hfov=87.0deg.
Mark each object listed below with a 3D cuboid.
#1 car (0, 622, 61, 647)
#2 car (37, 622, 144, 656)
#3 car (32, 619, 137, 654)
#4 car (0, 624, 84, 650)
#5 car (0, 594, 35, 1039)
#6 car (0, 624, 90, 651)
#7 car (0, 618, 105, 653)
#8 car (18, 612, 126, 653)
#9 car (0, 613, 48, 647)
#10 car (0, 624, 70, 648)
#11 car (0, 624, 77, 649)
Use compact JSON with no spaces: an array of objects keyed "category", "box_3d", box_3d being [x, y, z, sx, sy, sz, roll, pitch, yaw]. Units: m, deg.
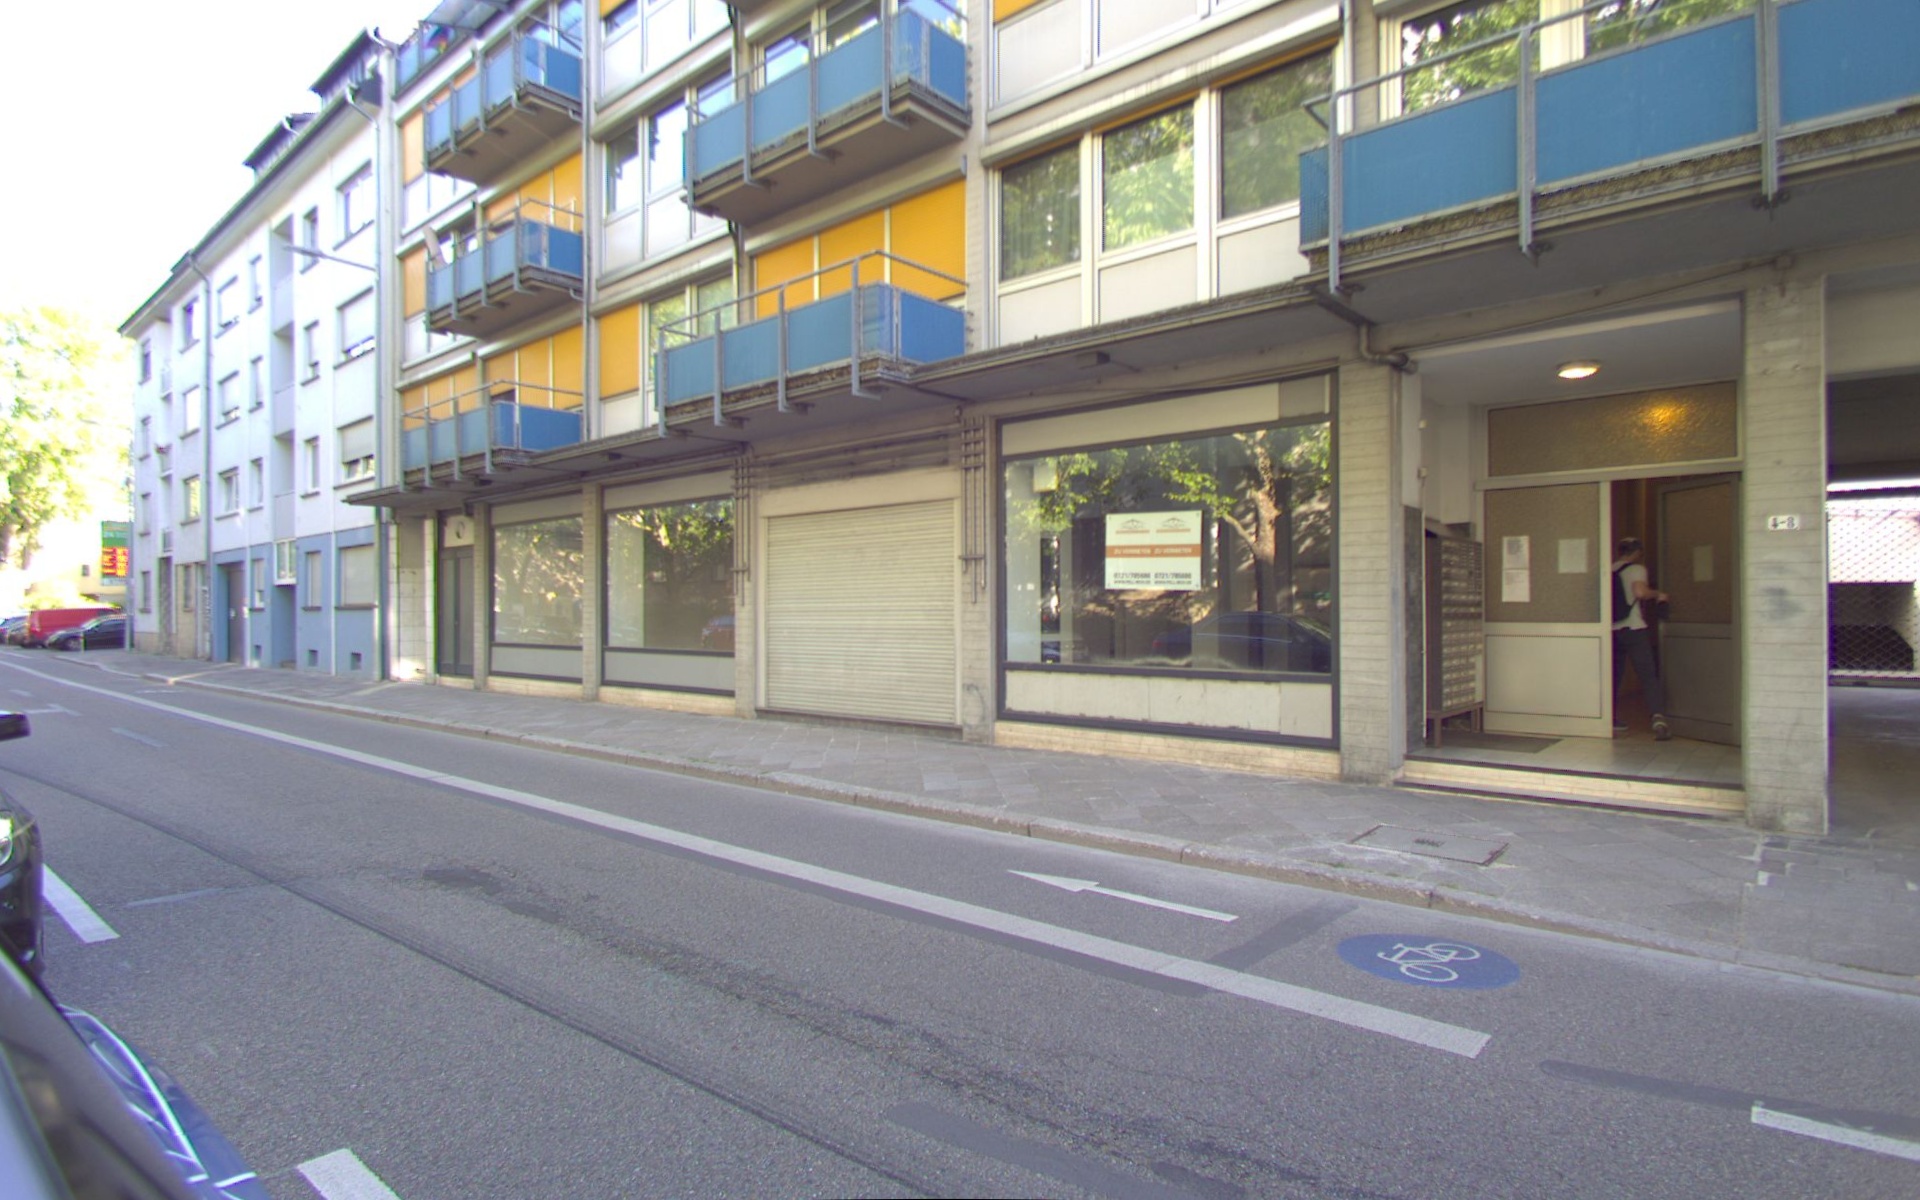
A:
[{"category":"car","box_3d":[-59.215,2.189,63.762,1.539,1.451,3.733,-1,0,42]},{"category":"car","box_3d":[-39.796,1.747,46.354,1.534,1.420,3.551,-2,-1,42]},{"category":"car","box_3d":[-41.514,1.701,48.050,1.602,1.521,3.620,-1,0,42]},{"category":"car","box_3d":[-53.363,2.116,58.564,1.594,1.385,3.854,-1,0,42]},{"category":"car","box_3d":[-5.433,0.767,4.210,4.291,1.515,1.805,-1,0,40]},{"category":"car","box_3d":[-51.850,2.097,57.224,1.594,1.385,3.854,-1,0,42]},{"category":"car","box_3d":[-46.054,1.781,51.406,1.603,1.598,3.854,-1,0,42]},{"category":"car","box_3d":[-43.707,1.565,49.868,1.749,1.921,3.854,-1,-1,42]},{"category":"car","box_3d":[-62.714,1.968,66.592,1.725,2.193,3.854,-1,0,42]},{"category":"car","box_3d":[-57.185,2.201,62.004,1.525,1.343,3.854,-1,0,42]},{"category":"car","box_3d":[-55.379,2.177,60.443,1.525,1.343,3.854,-1,0,42]}]
